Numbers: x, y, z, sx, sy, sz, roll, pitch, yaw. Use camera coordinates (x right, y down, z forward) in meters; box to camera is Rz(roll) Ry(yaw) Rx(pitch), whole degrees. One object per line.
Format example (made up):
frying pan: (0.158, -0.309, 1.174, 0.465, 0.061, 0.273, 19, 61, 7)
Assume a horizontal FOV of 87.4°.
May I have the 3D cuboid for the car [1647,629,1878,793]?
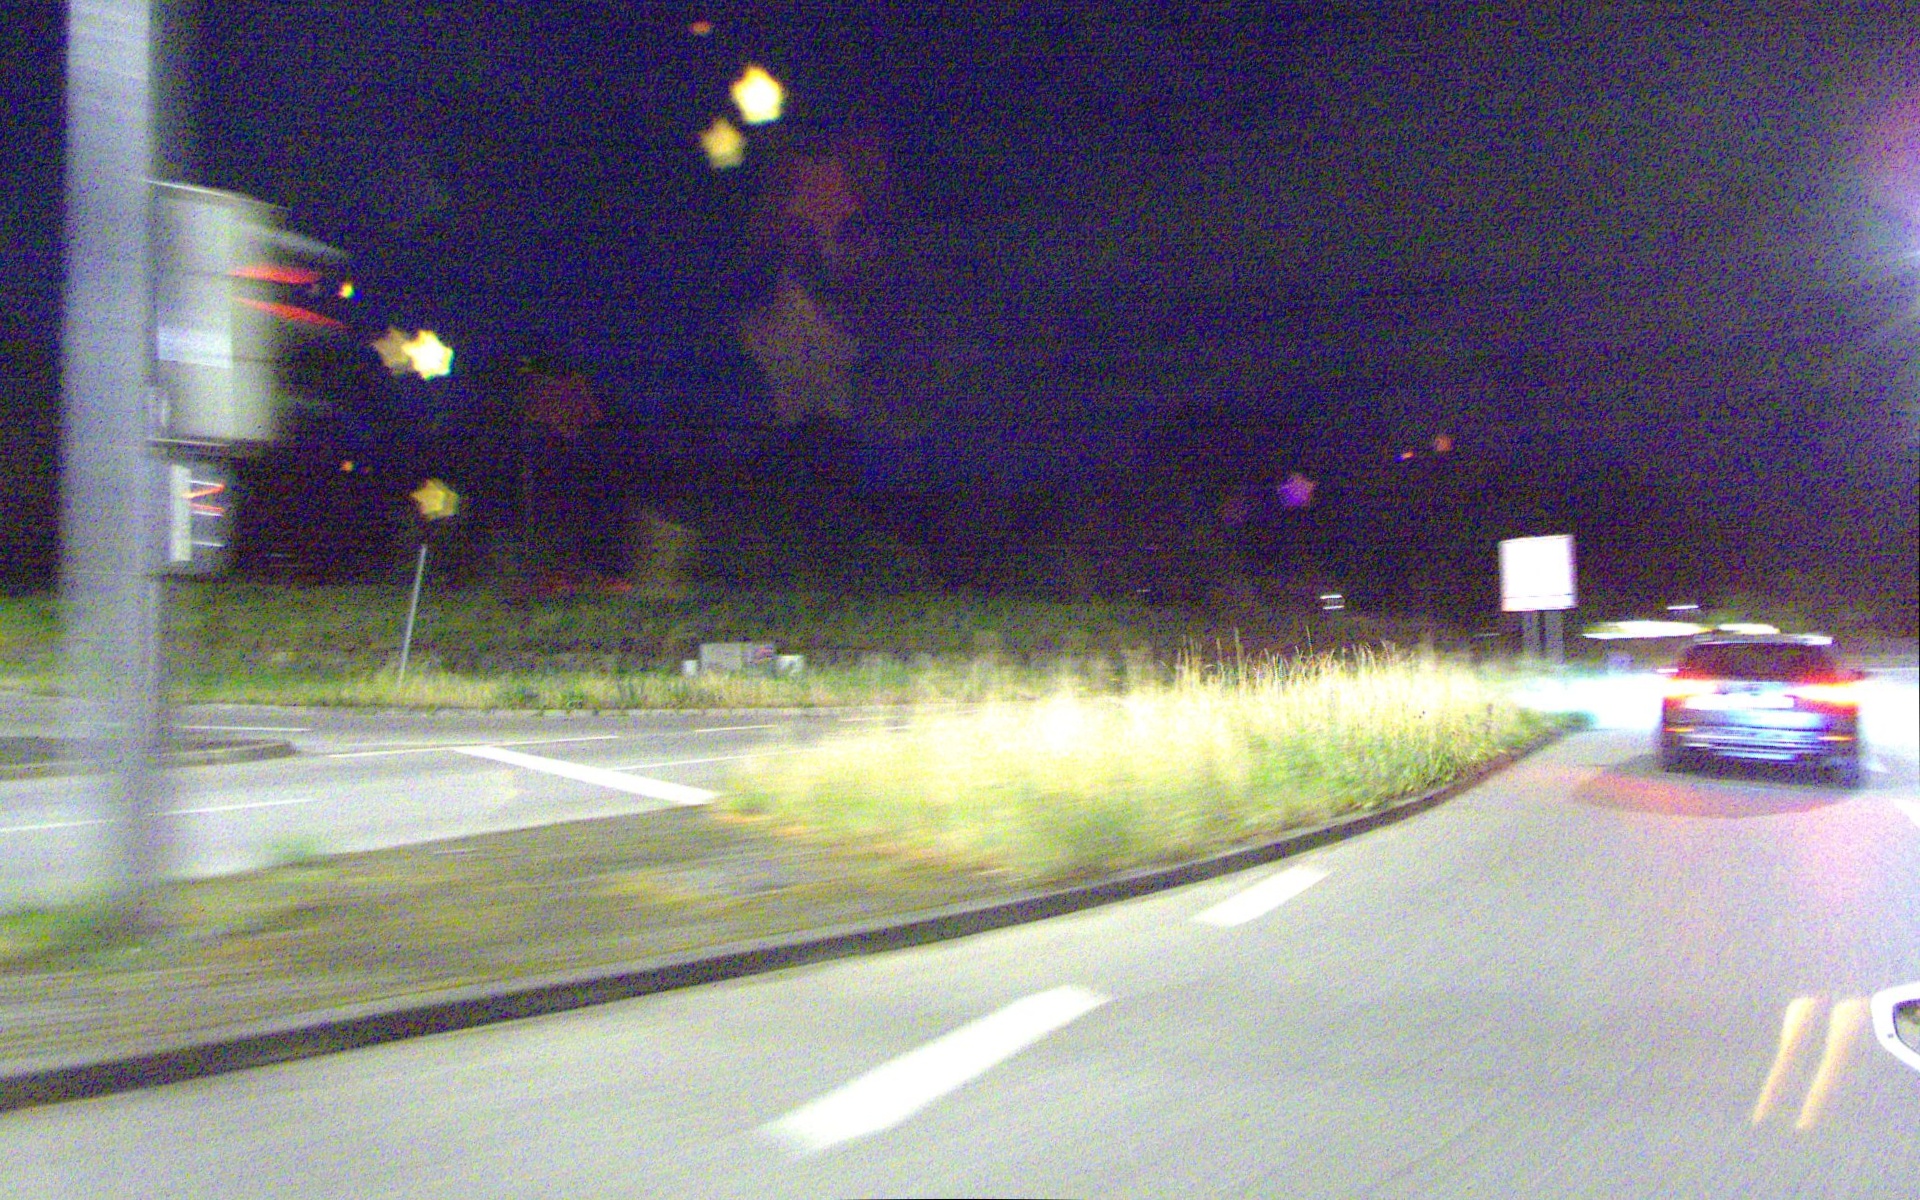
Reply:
car: (9.327, 1.165, 11.981, 1.827, 1.603, 3.994, -2, -3, 35)
